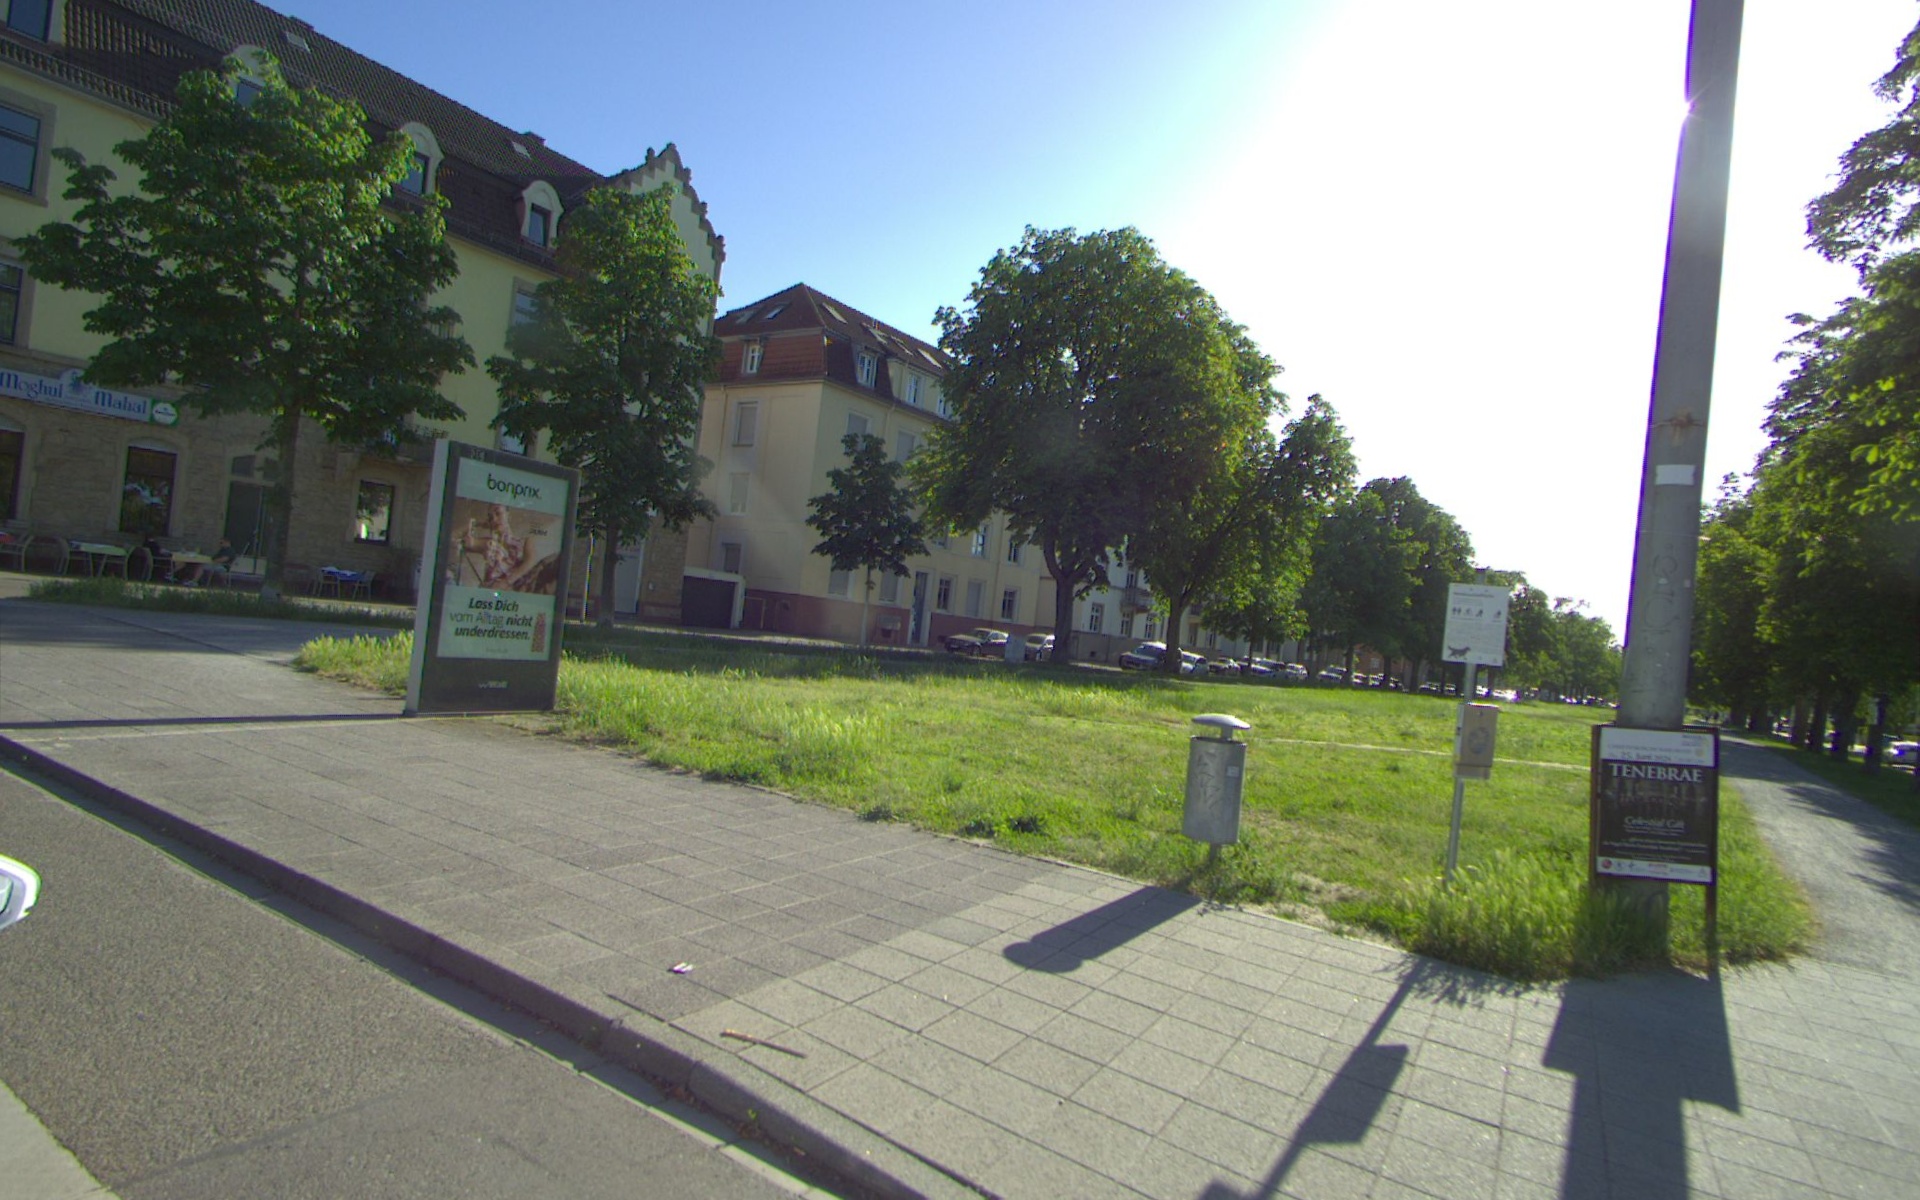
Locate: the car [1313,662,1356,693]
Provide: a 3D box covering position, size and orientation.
[{"bbox_3d":[30.668,6.350,82.354,1.899,2.054,4.651,7,-3,37],"label":"car"}]

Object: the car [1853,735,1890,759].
[{"bbox_3d":[77.958,12.525,86.094,1.797,1.624,3.988,7,-1,36],"label":"car"}]

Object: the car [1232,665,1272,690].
[{"bbox_3d":[23.801,6.329,81.972,1.710,1.622,3.694,6,-3,39],"label":"car"}]

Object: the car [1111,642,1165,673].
[{"bbox_3d":[11.666,3.774,65.765,1.710,1.503,3.694,6,-3,39],"label":"car"}]

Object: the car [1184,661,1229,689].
[{"bbox_3d":[18.522,5.627,75.404,1.710,1.622,3.694,6,-3,39],"label":"car"}]

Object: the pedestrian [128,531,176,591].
[{"bbox_3d":[-20.524,-0.992,25.561,0.690,1.375,0.639,7,-2,35],"label":"pedestrian"}]

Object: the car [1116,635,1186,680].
[{"bbox_3d":[10.163,3.072,53.442,1.900,1.902,3.693,6,-3,40],"label":"car"}]

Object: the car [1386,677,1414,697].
[{"bbox_3d":[42.034,8.298,96.153,1.625,1.535,3.397,7,-3,36],"label":"car"}]

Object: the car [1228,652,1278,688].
[{"bbox_3d":[19.662,4.718,67.333,1.898,1.902,3.698,7,-3,36],"label":"car"}]

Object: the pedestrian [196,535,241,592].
[{"bbox_3d":[-19.650,-0.975,26.662,0.690,1.375,0.639,7,-2,35],"label":"pedestrian"}]

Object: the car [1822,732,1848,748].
[{"bbox_3d":[100.079,16.020,115.093,1.797,1.450,3.988,6,-1,36],"label":"car"}]

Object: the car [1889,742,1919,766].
[{"bbox_3d":[70.267,11.407,74.322,1.797,1.450,3.988,6,-1,36],"label":"car"}]

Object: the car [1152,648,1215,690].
[{"bbox_3d":[12.912,3.996,58.037,1.898,1.902,4.058,7,-3,36],"label":"car"}]

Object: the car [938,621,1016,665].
[{"bbox_3d":[0.891,2.189,50.910,1.800,1.624,3.843,9,-2,38],"label":"car"}]

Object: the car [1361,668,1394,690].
[{"bbox_3d":[37.744,7.178,90.901,1.627,1.535,3.392,6,-3,41],"label":"car"}]

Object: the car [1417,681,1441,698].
[{"bbox_3d":[52.003,9.898,111.531,1.625,1.535,3.397,7,-3,36],"label":"car"}]
